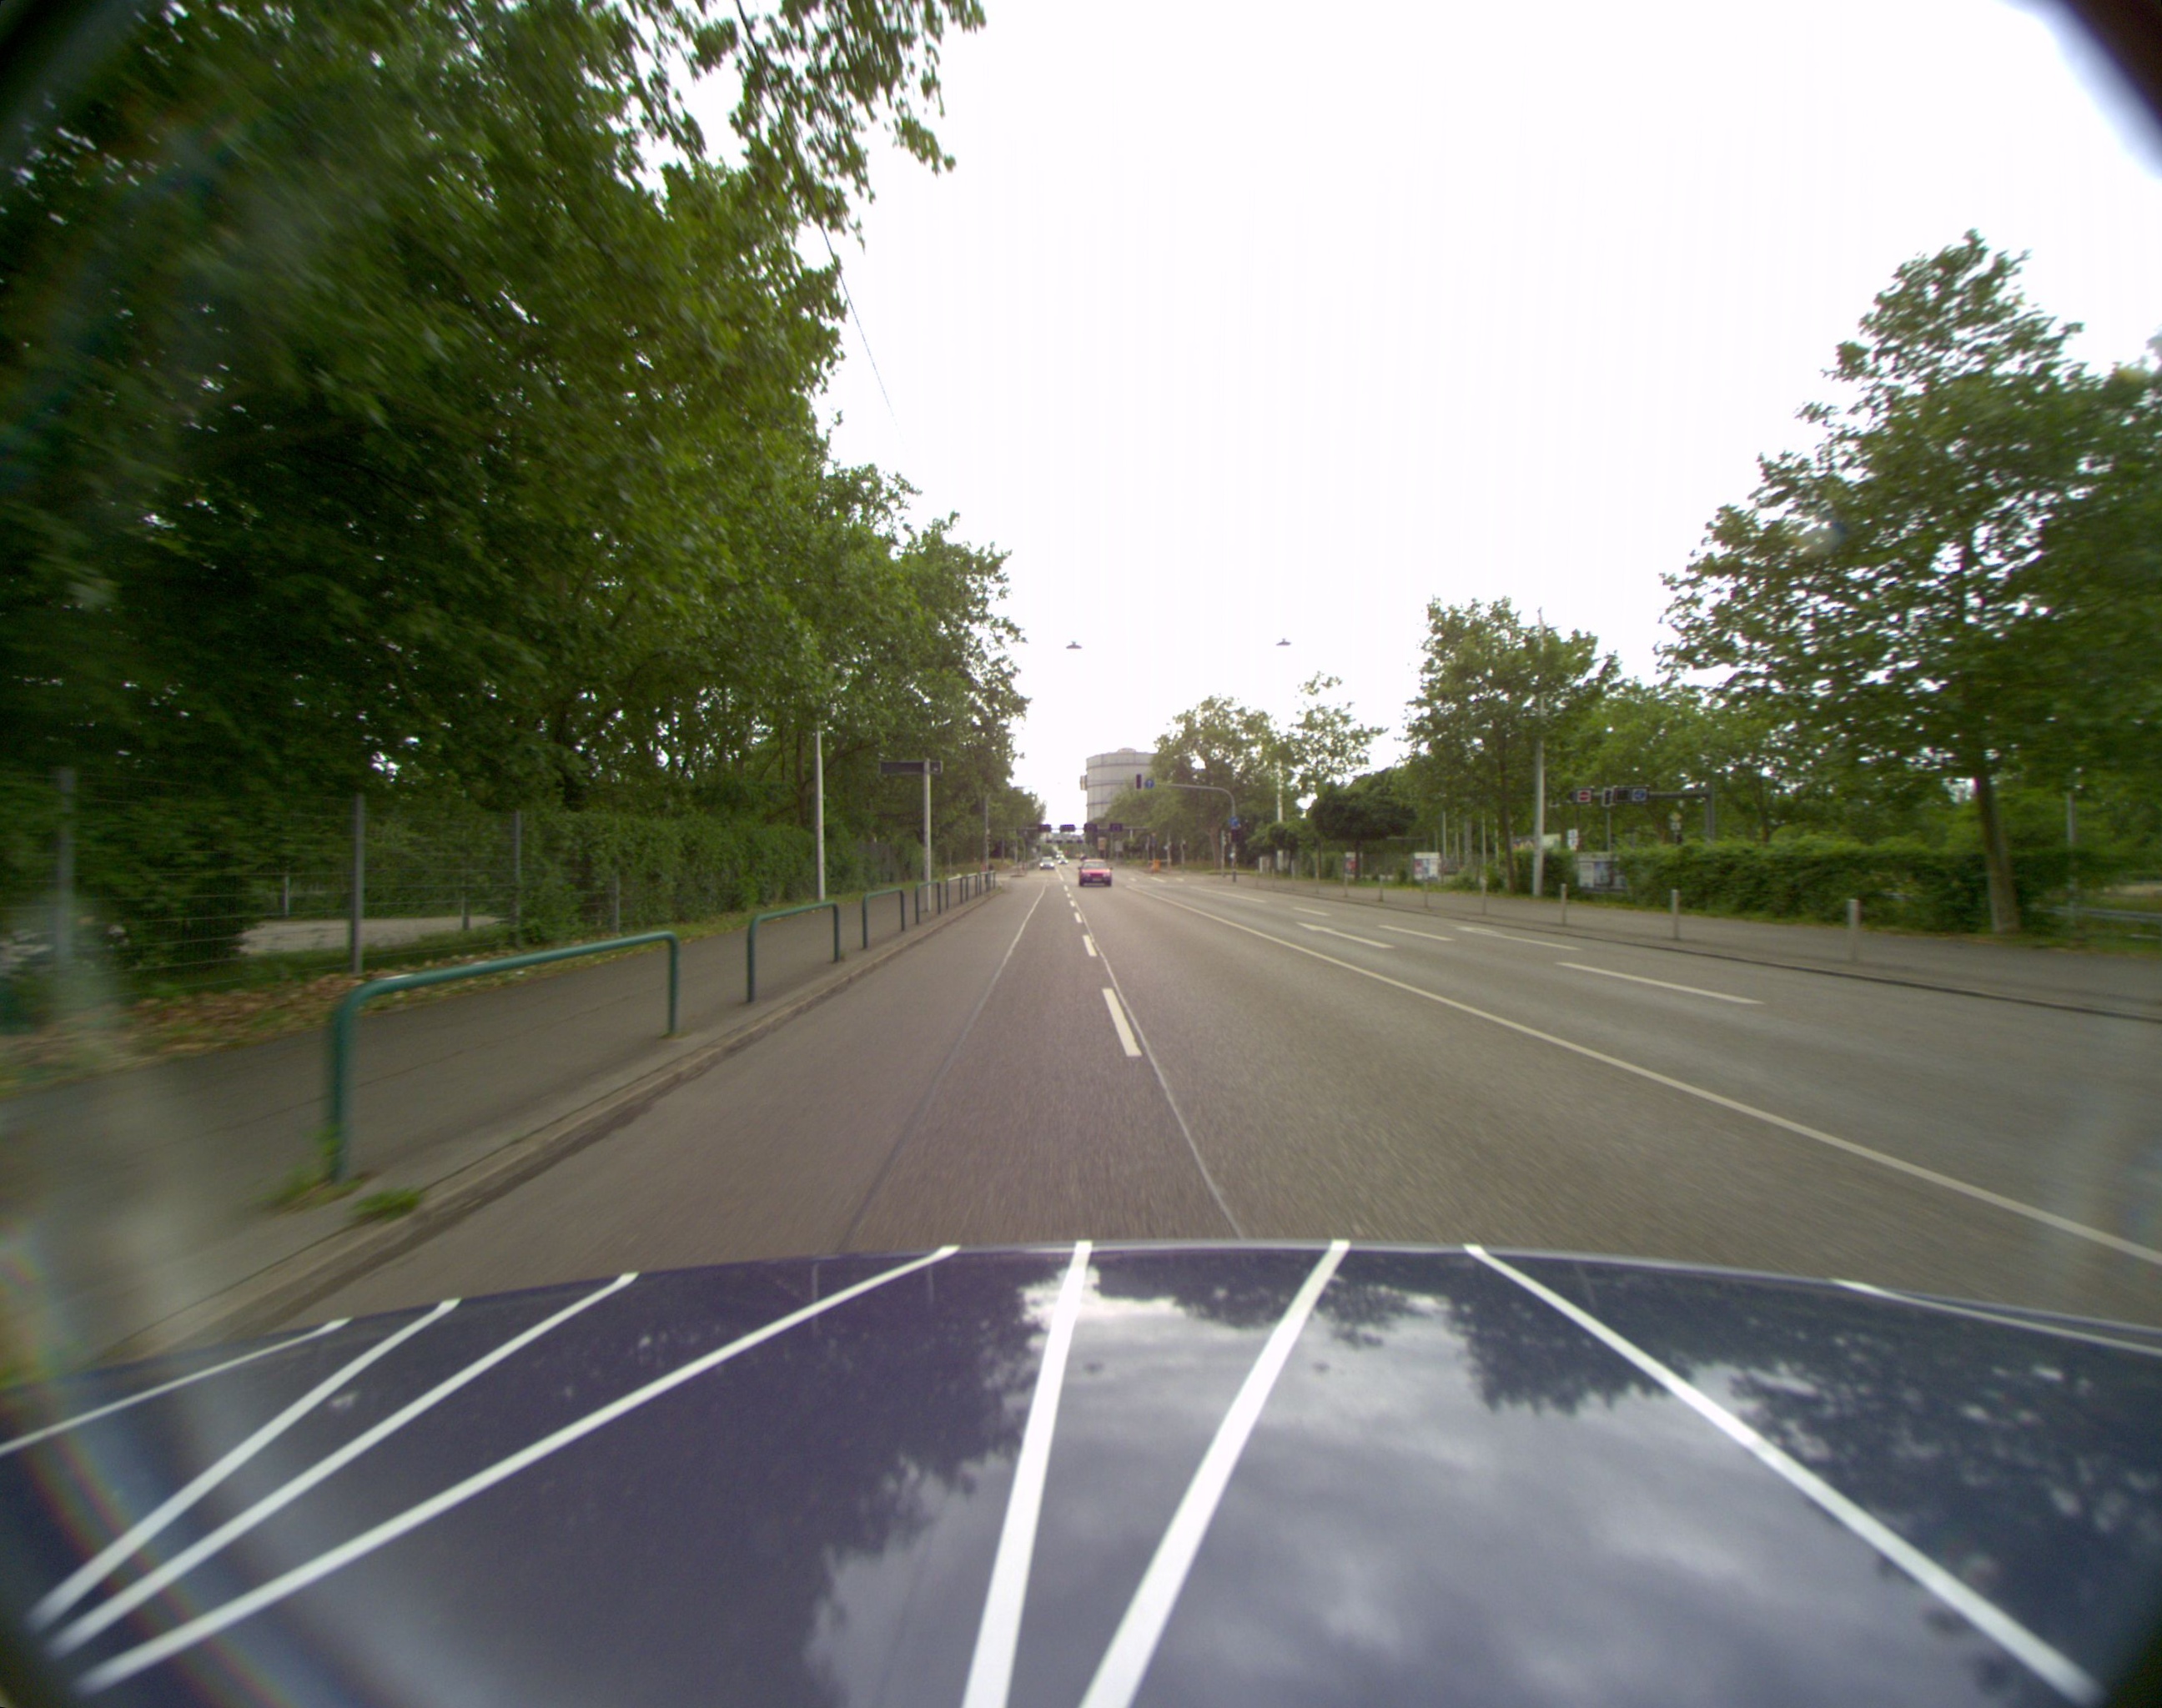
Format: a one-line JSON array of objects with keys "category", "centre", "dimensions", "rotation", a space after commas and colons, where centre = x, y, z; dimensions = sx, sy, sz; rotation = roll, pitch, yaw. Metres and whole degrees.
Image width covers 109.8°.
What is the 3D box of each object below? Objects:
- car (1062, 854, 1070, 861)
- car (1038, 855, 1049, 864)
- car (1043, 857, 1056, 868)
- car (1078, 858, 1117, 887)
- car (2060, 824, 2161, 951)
[{"category": "car", "centre": [-3.282, 0.701, 163.838], "dimensions": [1.799, 1.501, 3.999], "rotation": [0, 0, -2]}, {"category": "car", "centre": [-5.914, 0.806, 120.780], "dimensions": [1.741, 1.363, 3.871], "rotation": [0, 0, -2]}, {"category": "car", "centre": [-4.050, 1.048, 98.171], "dimensions": [1.741, 1.363, 3.871], "rotation": [0, 0, -2]}, {"category": "car", "centre": [0.846, 0.953, 41.456], "dimensions": [1.834, 1.443, 4.075], "rotation": [-1, 0, -3]}, {"category": "car", "centre": [18.381, 0.539, 10.961], "dimensions": [2.394, 2.002, 4.633], "rotation": [0, 0, -6]}]
